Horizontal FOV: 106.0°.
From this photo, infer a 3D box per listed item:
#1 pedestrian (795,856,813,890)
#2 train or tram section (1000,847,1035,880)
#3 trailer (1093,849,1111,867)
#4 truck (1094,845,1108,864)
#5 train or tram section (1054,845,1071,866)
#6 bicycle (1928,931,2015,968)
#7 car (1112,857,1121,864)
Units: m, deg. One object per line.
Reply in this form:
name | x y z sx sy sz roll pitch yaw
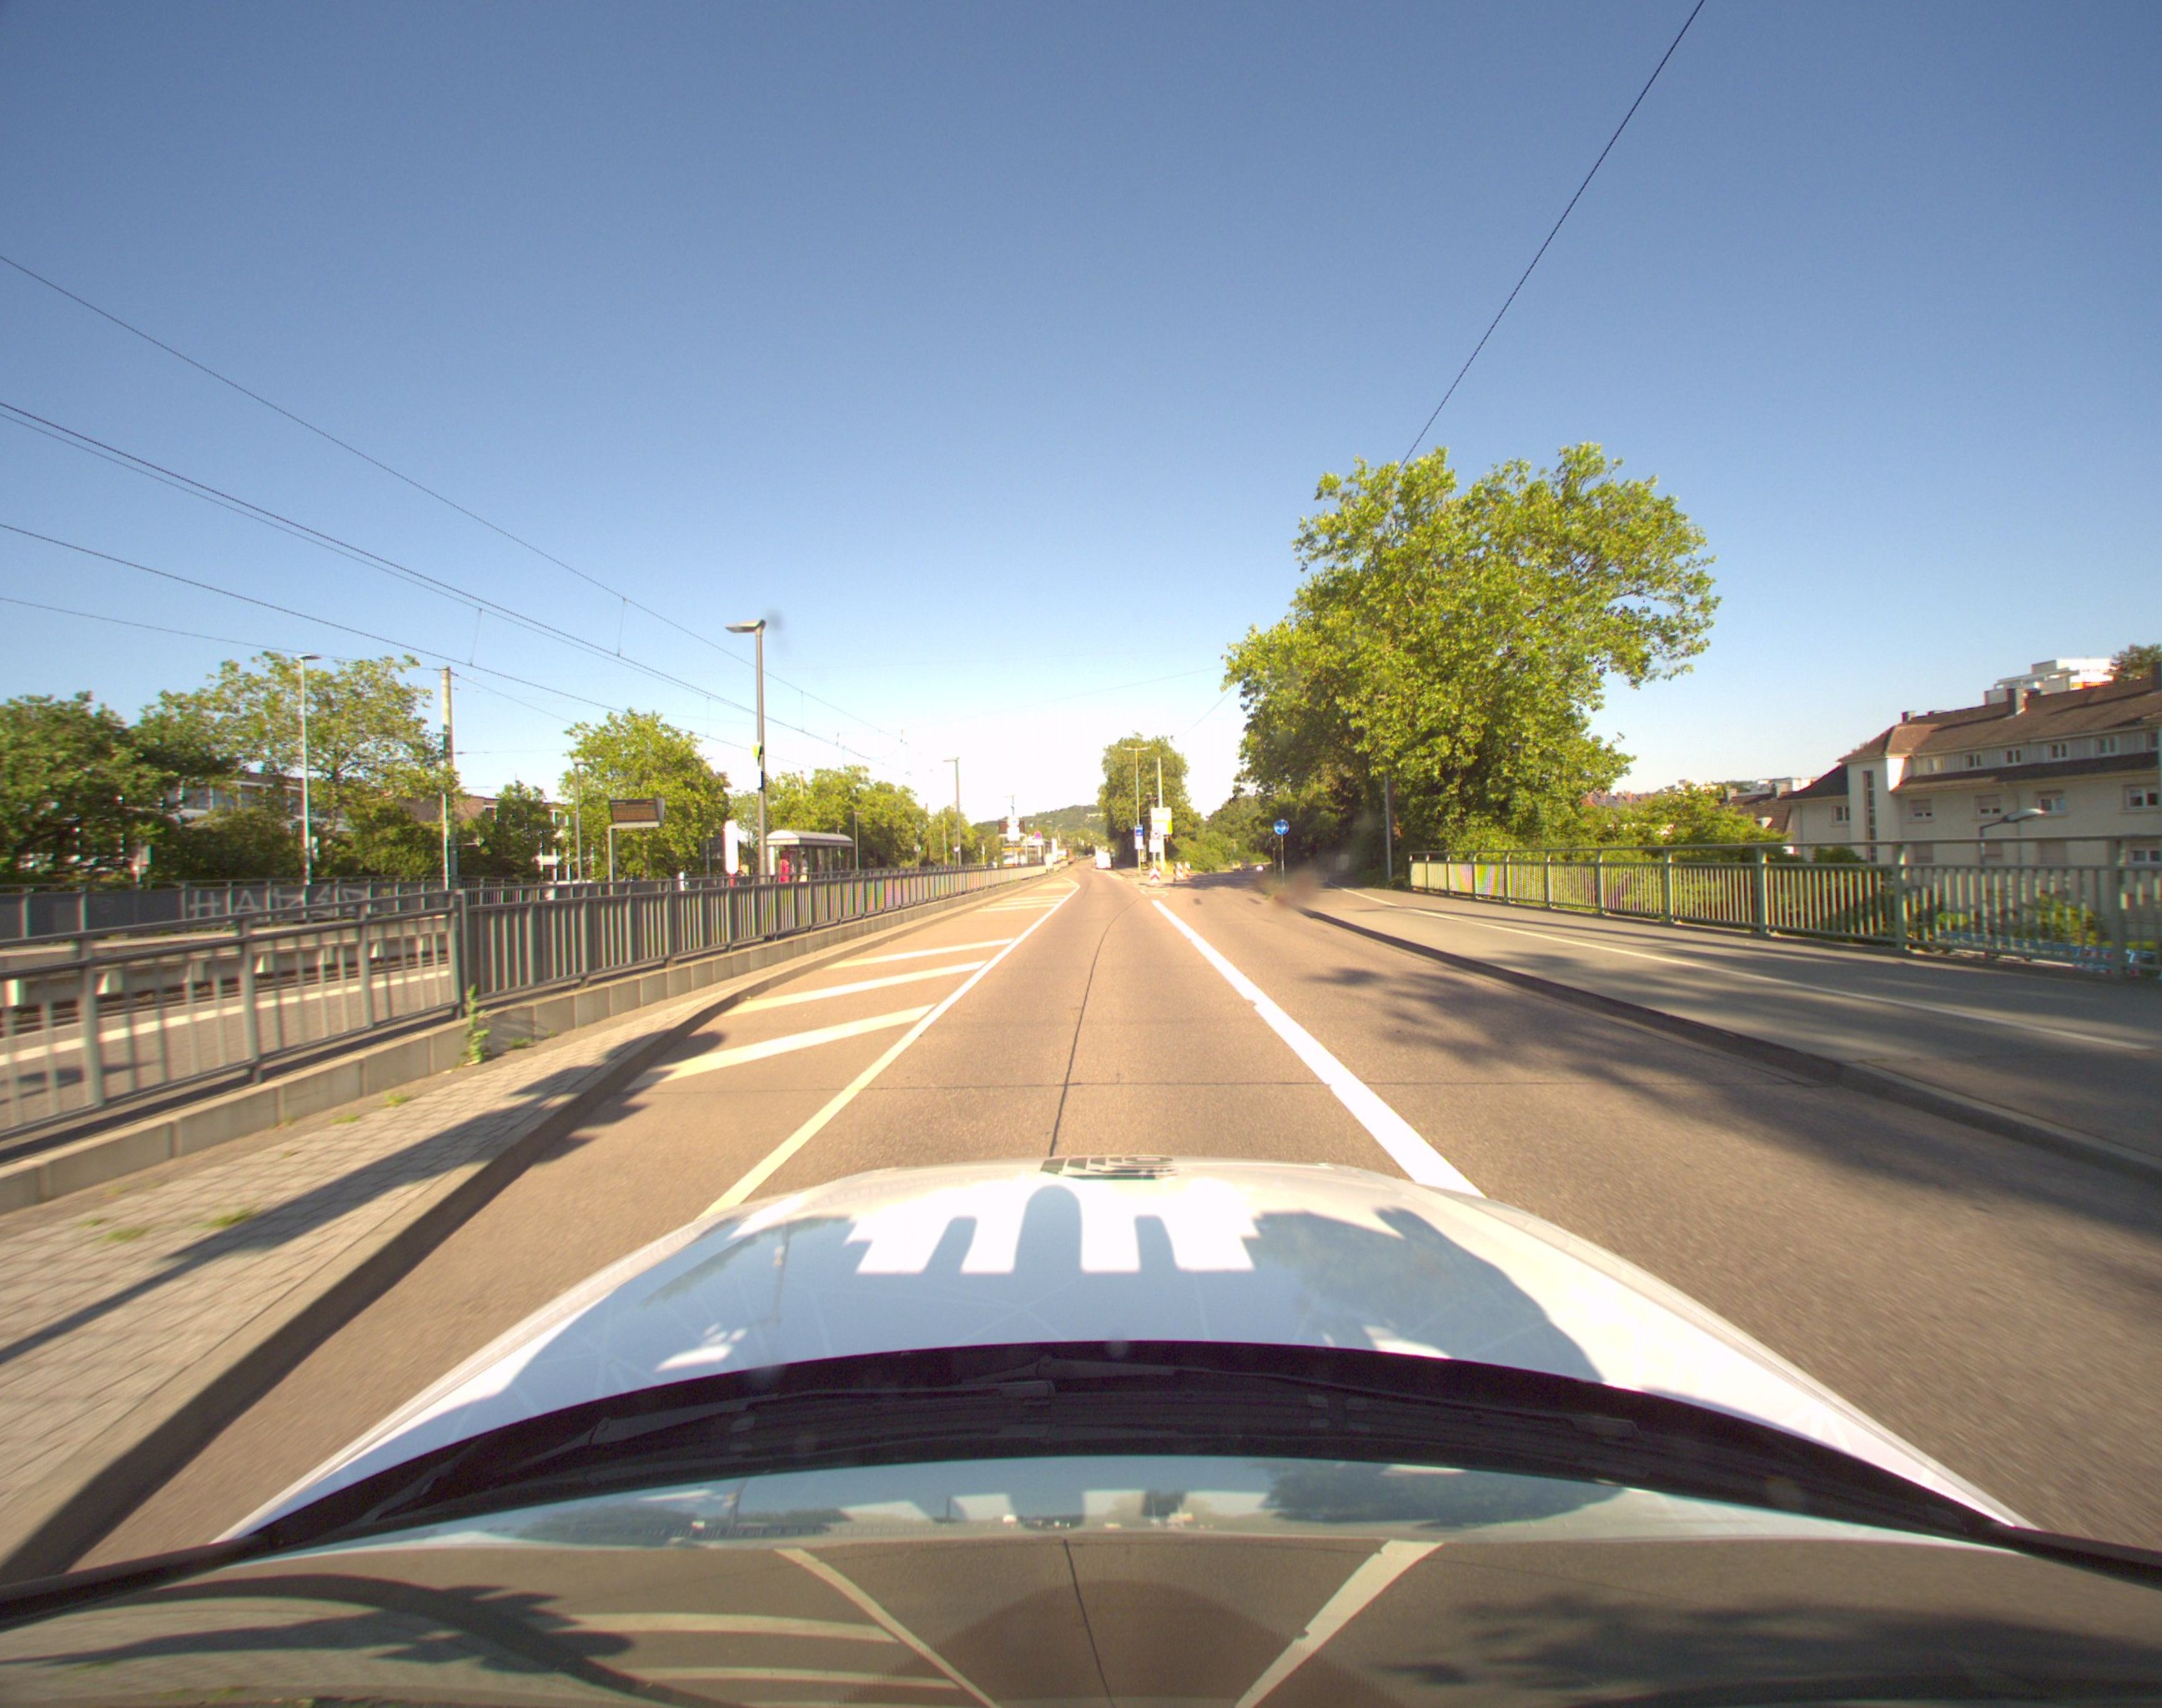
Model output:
pedestrian | -14.231 0.966 41.819 0.692 1.757 0.592 -2 -1 37
train or tram section | -8.310 1.260 109.058 2.816 4.006 15.882 -1 0 2
trailer | 3.120 0.585 120.810 2.241 2.694 5.953 -1 0 4
truck | 4.158 0.034 168.607 2.732 3.783 10.090 0 0 1
train or tram section | -3.740 0.227 168.958 2.711 4.091 13.619 -3 0 2
bicycle | 21.772 2.314 19.949 0.428 0.726 1.604 2 -1 2
car | 7.160 1.309 163.692 1.646 1.437 3.779 -2 0 3
